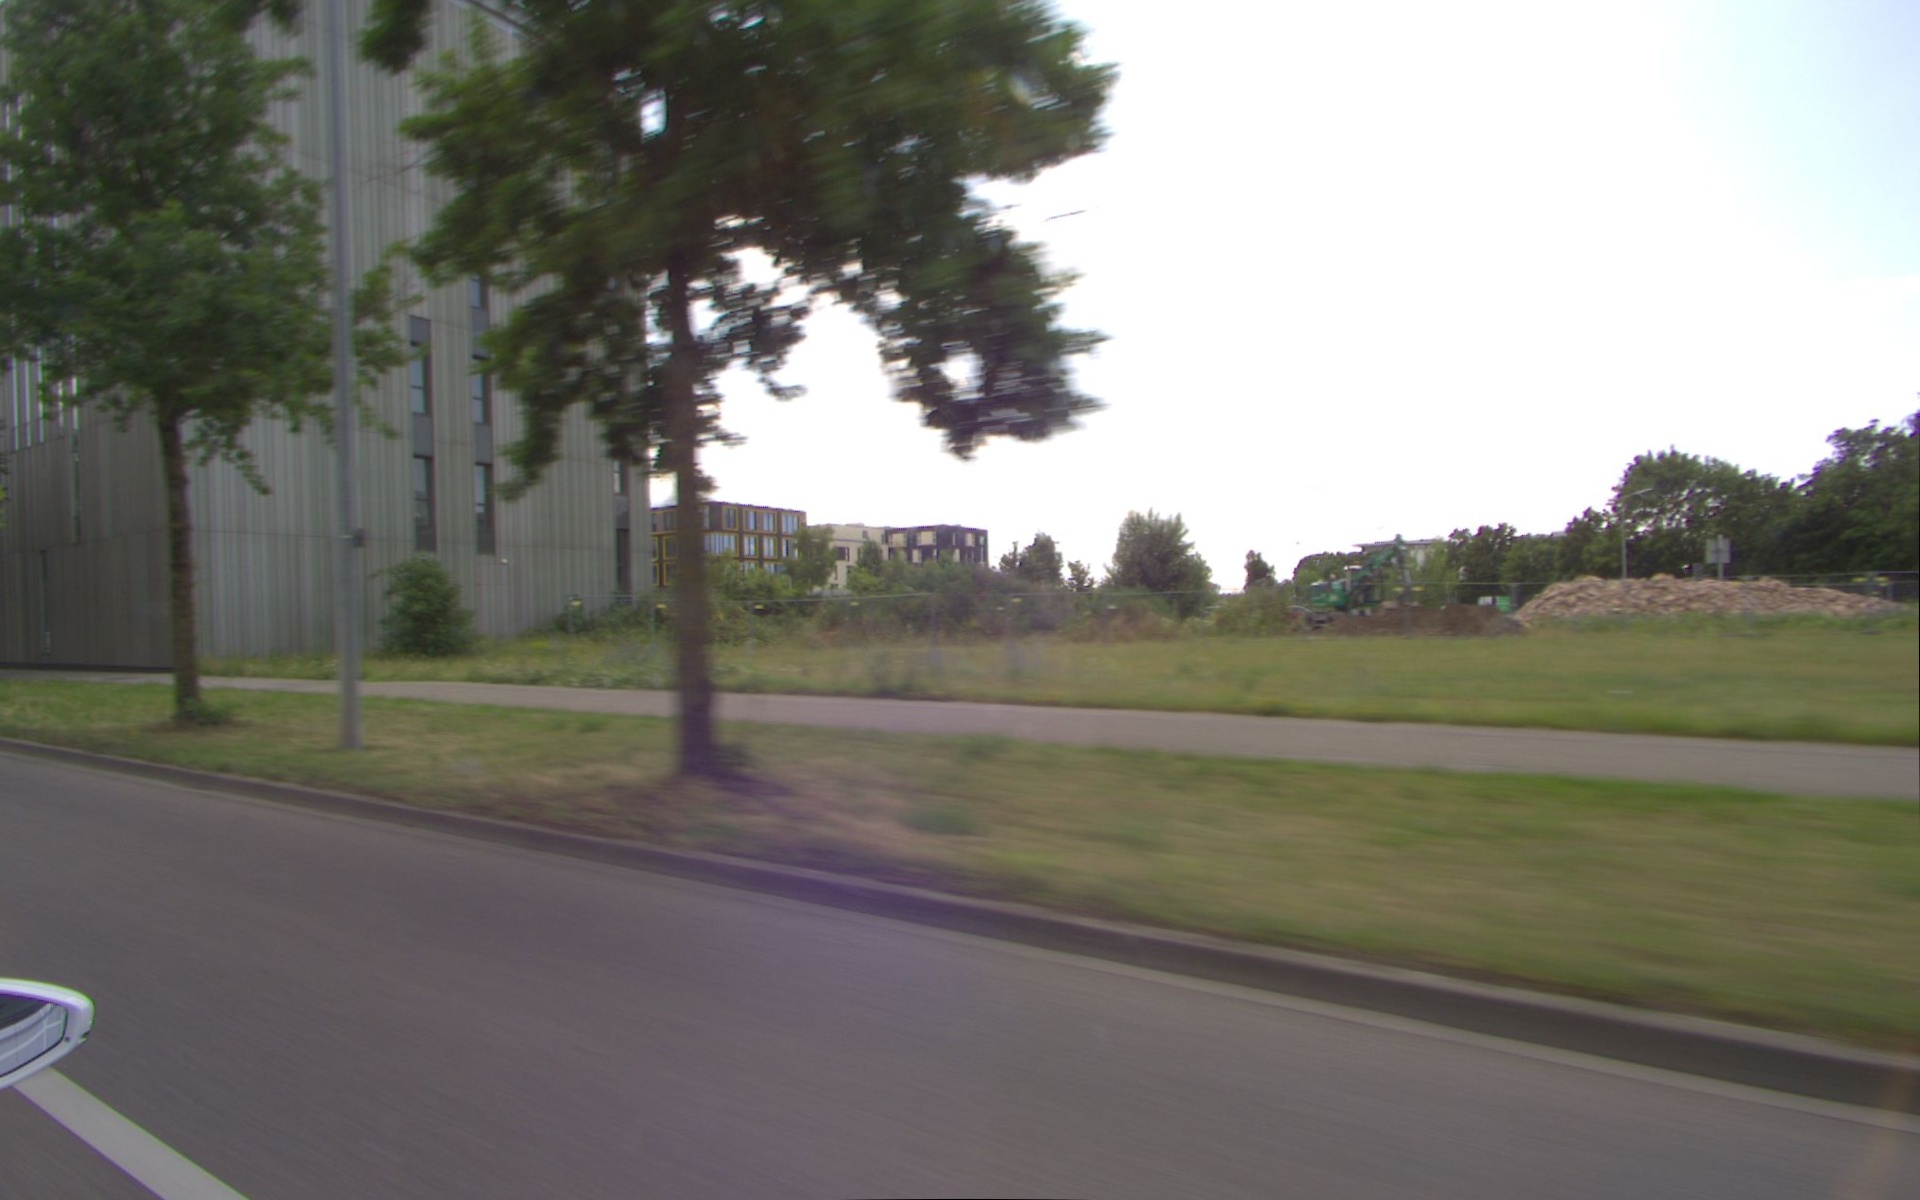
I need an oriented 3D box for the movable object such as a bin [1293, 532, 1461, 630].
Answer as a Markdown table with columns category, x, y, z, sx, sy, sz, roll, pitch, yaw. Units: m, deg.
| category | x | y | z | sx | sy | sz | roll | pitch | yaw |
| --- | --- | --- | --- | --- | --- | --- | --- | --- | --- |
| movable object such as a bin | 18.638 | -0.693 | 45.464 | 2.993 | 3.900 | 7.613 | -1 | -3 | -14 |
